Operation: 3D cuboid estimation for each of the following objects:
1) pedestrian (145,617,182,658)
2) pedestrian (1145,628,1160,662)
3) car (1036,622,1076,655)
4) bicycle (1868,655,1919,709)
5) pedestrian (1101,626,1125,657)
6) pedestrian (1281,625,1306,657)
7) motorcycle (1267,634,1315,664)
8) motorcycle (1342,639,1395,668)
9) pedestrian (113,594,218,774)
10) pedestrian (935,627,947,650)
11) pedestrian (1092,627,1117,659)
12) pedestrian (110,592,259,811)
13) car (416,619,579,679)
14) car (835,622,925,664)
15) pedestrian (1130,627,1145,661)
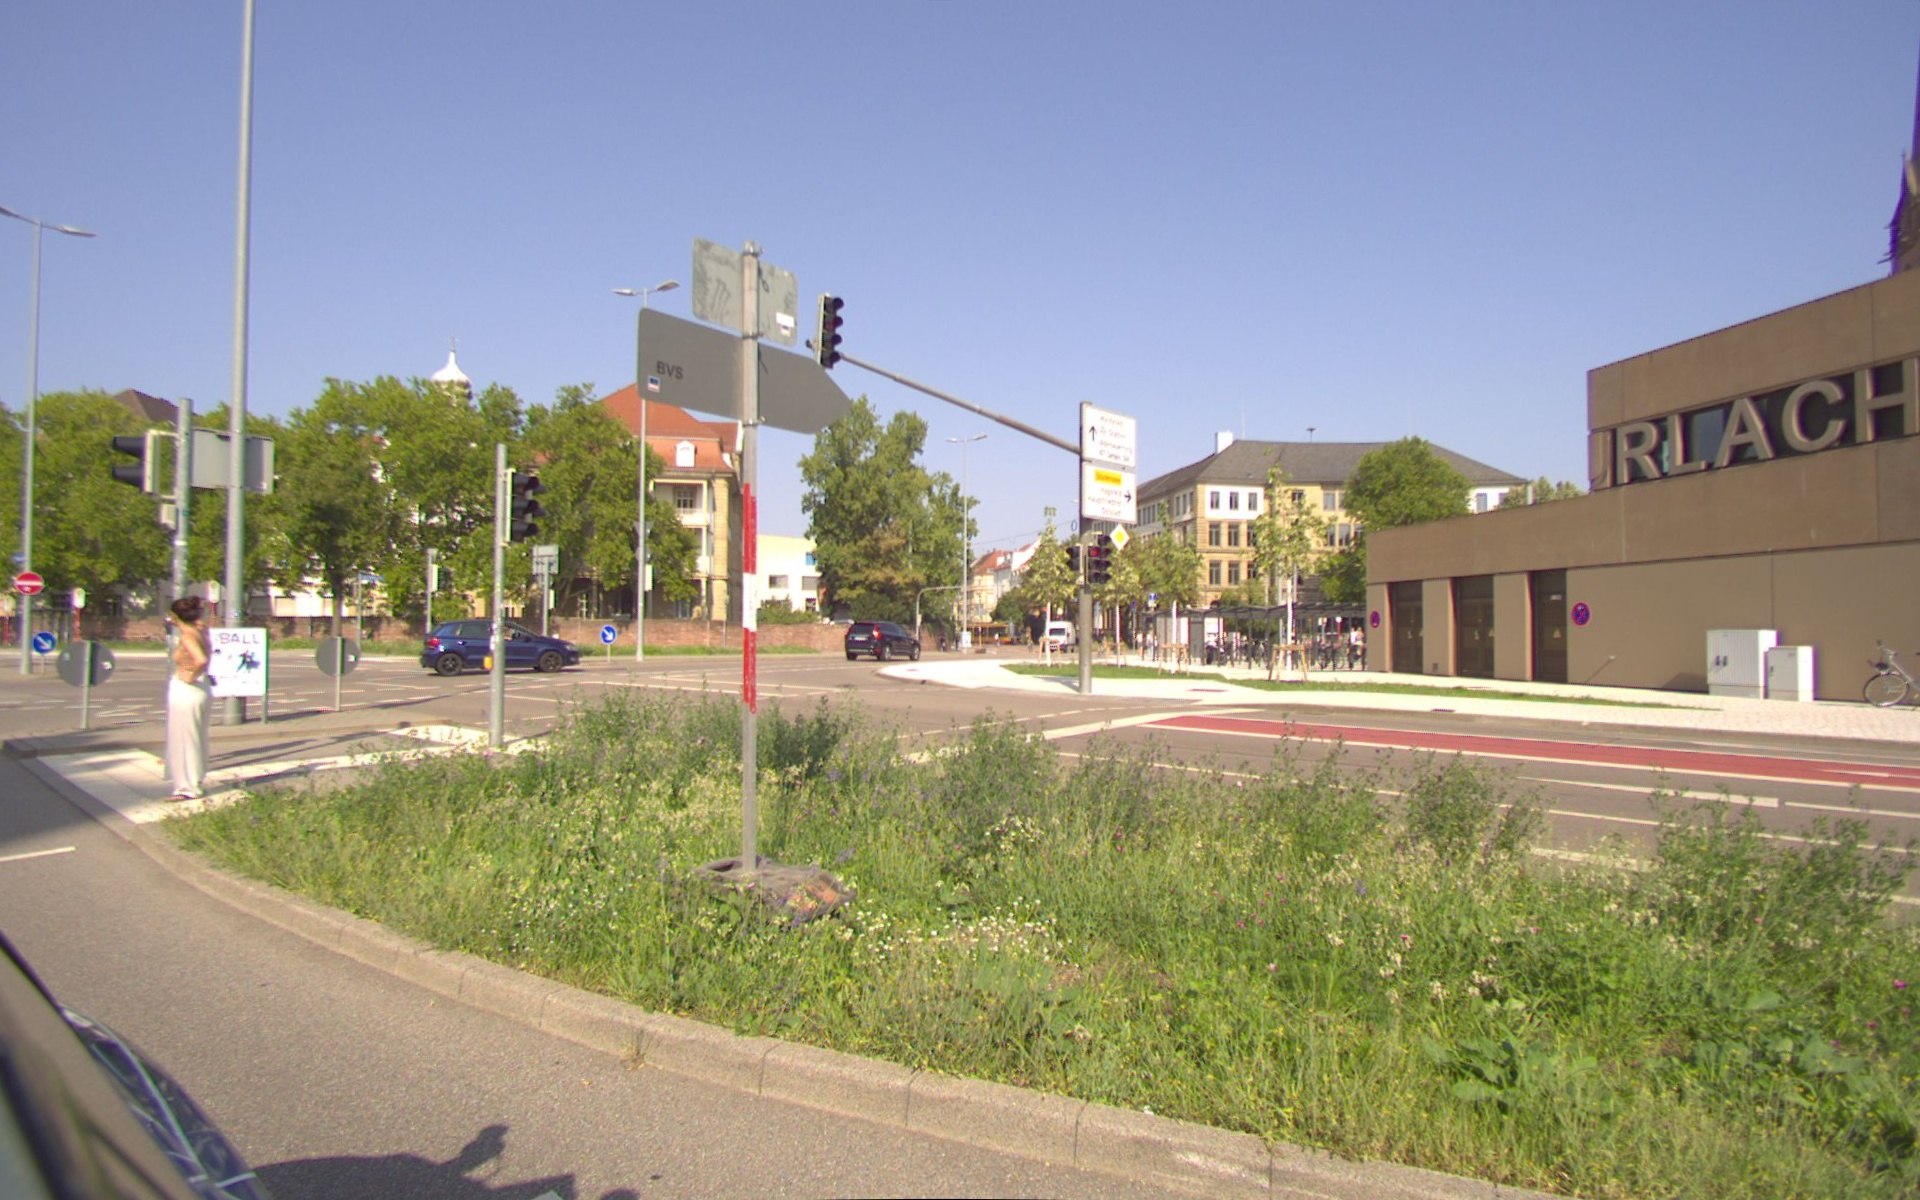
[{"bbox_3d":[-39.865,1.863,50.651,1.314,2.029,1.068,-1,-2,31],"label":"pedestrian"},{"bbox_3d":[11.661,2.701,61.329,0.853,2.029,1.003,0,-2,11],"label":"pedestrian"},{"bbox_3d":[7.937,3.134,83.422,1.984,2.470,5.517,-2,0,19],"label":"car"},{"bbox_3d":[15.862,1.342,16.461,0.583,0.844,1.550,-3,-2,-10],"label":"bicycle"},{"bbox_3d":[10.165,2.730,67.161,1.207,2.029,1.330,-1,-3,28],"label":"pedestrian"},{"bbox_3d":[18.852,2.334,57.234,0.847,1.774,1.010,1,-3,-25],"label":"pedestrian"},{"bbox_3d":[16.627,2.447,50.921,0.776,1.460,2.778,1,-2,-19],"label":"motorcycle"},{"bbox_3d":[18.029,2.345,44.763,0.746,1.214,2.382,1,-2,-20],"label":"motorcycle"},{"bbox_3d":[-7.934,0.818,10.115,0.691,1.712,0.660,-2,-3,40],"label":"pedestrian"},{"bbox_3d":[-1.699,3.466,90.472,0.818,2.029,0.809,-2,0,29],"label":"pedestrian"},{"bbox_3d":[9.339,2.745,65.354,1.207,2.029,1.330,-1,-3,28],"label":"pedestrian"},{"bbox_3d":[-6.248,0.792,8.200,0.657,1.667,0.781,1,-2,-14],"label":"pedestrian"},{"bbox_3d":[-12.344,1.297,27.042,3.784,1.509,1.630,1,-2,-31],"label":"car"},{"bbox_3d":[-3.317,1.803,42.828,1.988,1.646,4.335,-1,-2,25],"label":"car"},{"bbox_3d":[10.812,2.674,61.669,0.853,2.029,1.003,0,-2,11],"label":"pedestrian"}]
